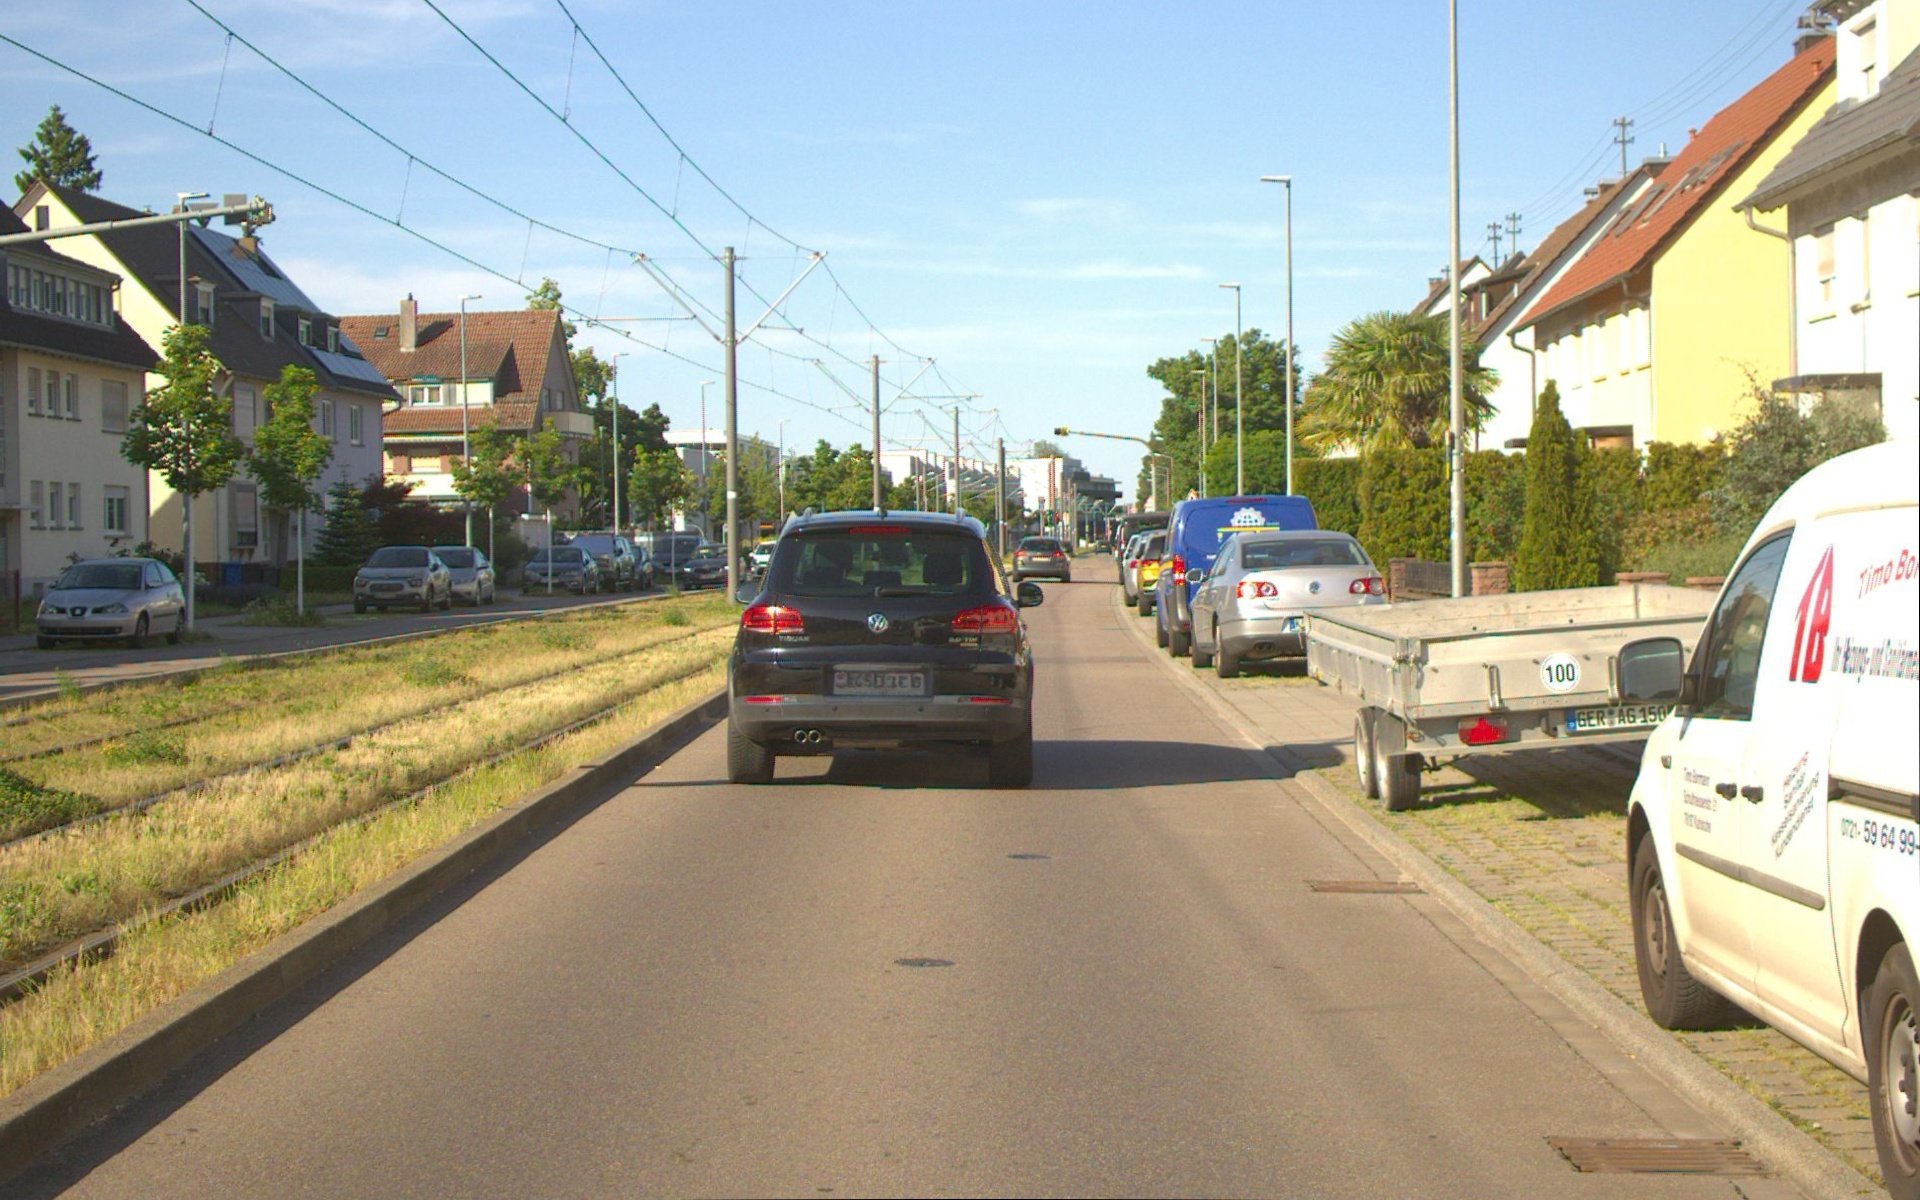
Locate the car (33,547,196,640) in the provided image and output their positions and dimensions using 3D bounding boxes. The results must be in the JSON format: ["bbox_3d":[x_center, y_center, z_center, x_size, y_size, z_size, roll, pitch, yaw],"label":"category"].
[{"bbox_3d":[-13.437,-0.077,54.806,1.618,1.404,3.717,-1,-1,1],"label":"car"}]

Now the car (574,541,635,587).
[{"bbox_3d":[-10.958,-1.135,106.087,1.515,1.357,3.590,-1,1,0],"label":"car"}]

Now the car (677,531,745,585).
[{"bbox_3d":[-8.148,-1.349,112.572,1.873,1.649,4.000,-1,-1,1],"label":"car"}]

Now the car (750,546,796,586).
[{"bbox_3d":[-6.896,-1.253,126.763,1.465,1.449,3.287,-1,0,1],"label":"car"}]

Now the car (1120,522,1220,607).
[{"bbox_3d":[3.908,-0.666,64.336,1.645,1.529,3.864,-1,1,1],"label":"car"}]

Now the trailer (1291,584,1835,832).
[{"bbox_3d":[3.206,0.525,19.253,2.204,1.090,4.372,-2,1,0],"label":"trailer"}]

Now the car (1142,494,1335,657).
[{"bbox_3d":[3.369,-0.333,42.395,1.993,1.855,4.917,-1,1,1],"label":"car"}]

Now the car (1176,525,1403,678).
[{"bbox_3d":[3.381,-0.023,36.025,1.786,1.436,4.460,-2,1,-1],"label":"car"}]

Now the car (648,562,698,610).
[{"bbox_3d":[-10.254,-0.510,123.057,1.465,1.671,3.287,-1,0,1],"label":"car"}]

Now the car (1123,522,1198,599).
[{"bbox_3d":[4.182,-0.837,71.984,1.451,1.546,3.829,-1,1,2],"label":"car"}]

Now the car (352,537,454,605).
[{"bbox_3d":[-12.592,-0.674,77.931,1.659,1.491,3.579,-1,1,1],"label":"car"}]

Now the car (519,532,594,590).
[{"bbox_3d":[-11.738,-1.132,100.192,1.660,1.575,4.000,-1,-1,1],"label":"car"}]

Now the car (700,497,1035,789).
[{"bbox_3d":[-0.692,0.228,22.030,1.811,1.665,4.258,1,0,-6],"label":"car"}]

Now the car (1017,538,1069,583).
[{"bbox_3d":[2.643,-1.274,110.404,1.572,1.386,3.614,-1,1,0],"label":"car"}]

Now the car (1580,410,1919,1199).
[{"bbox_3d":[2.883,0.434,9.043,1.690,1.770,4.656,-1,1,1],"label":"car"}]

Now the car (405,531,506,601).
[{"bbox_3d":[-12.308,-0.860,84.085,1.803,1.626,4.000,-1,1,1],"label":"car"}]
